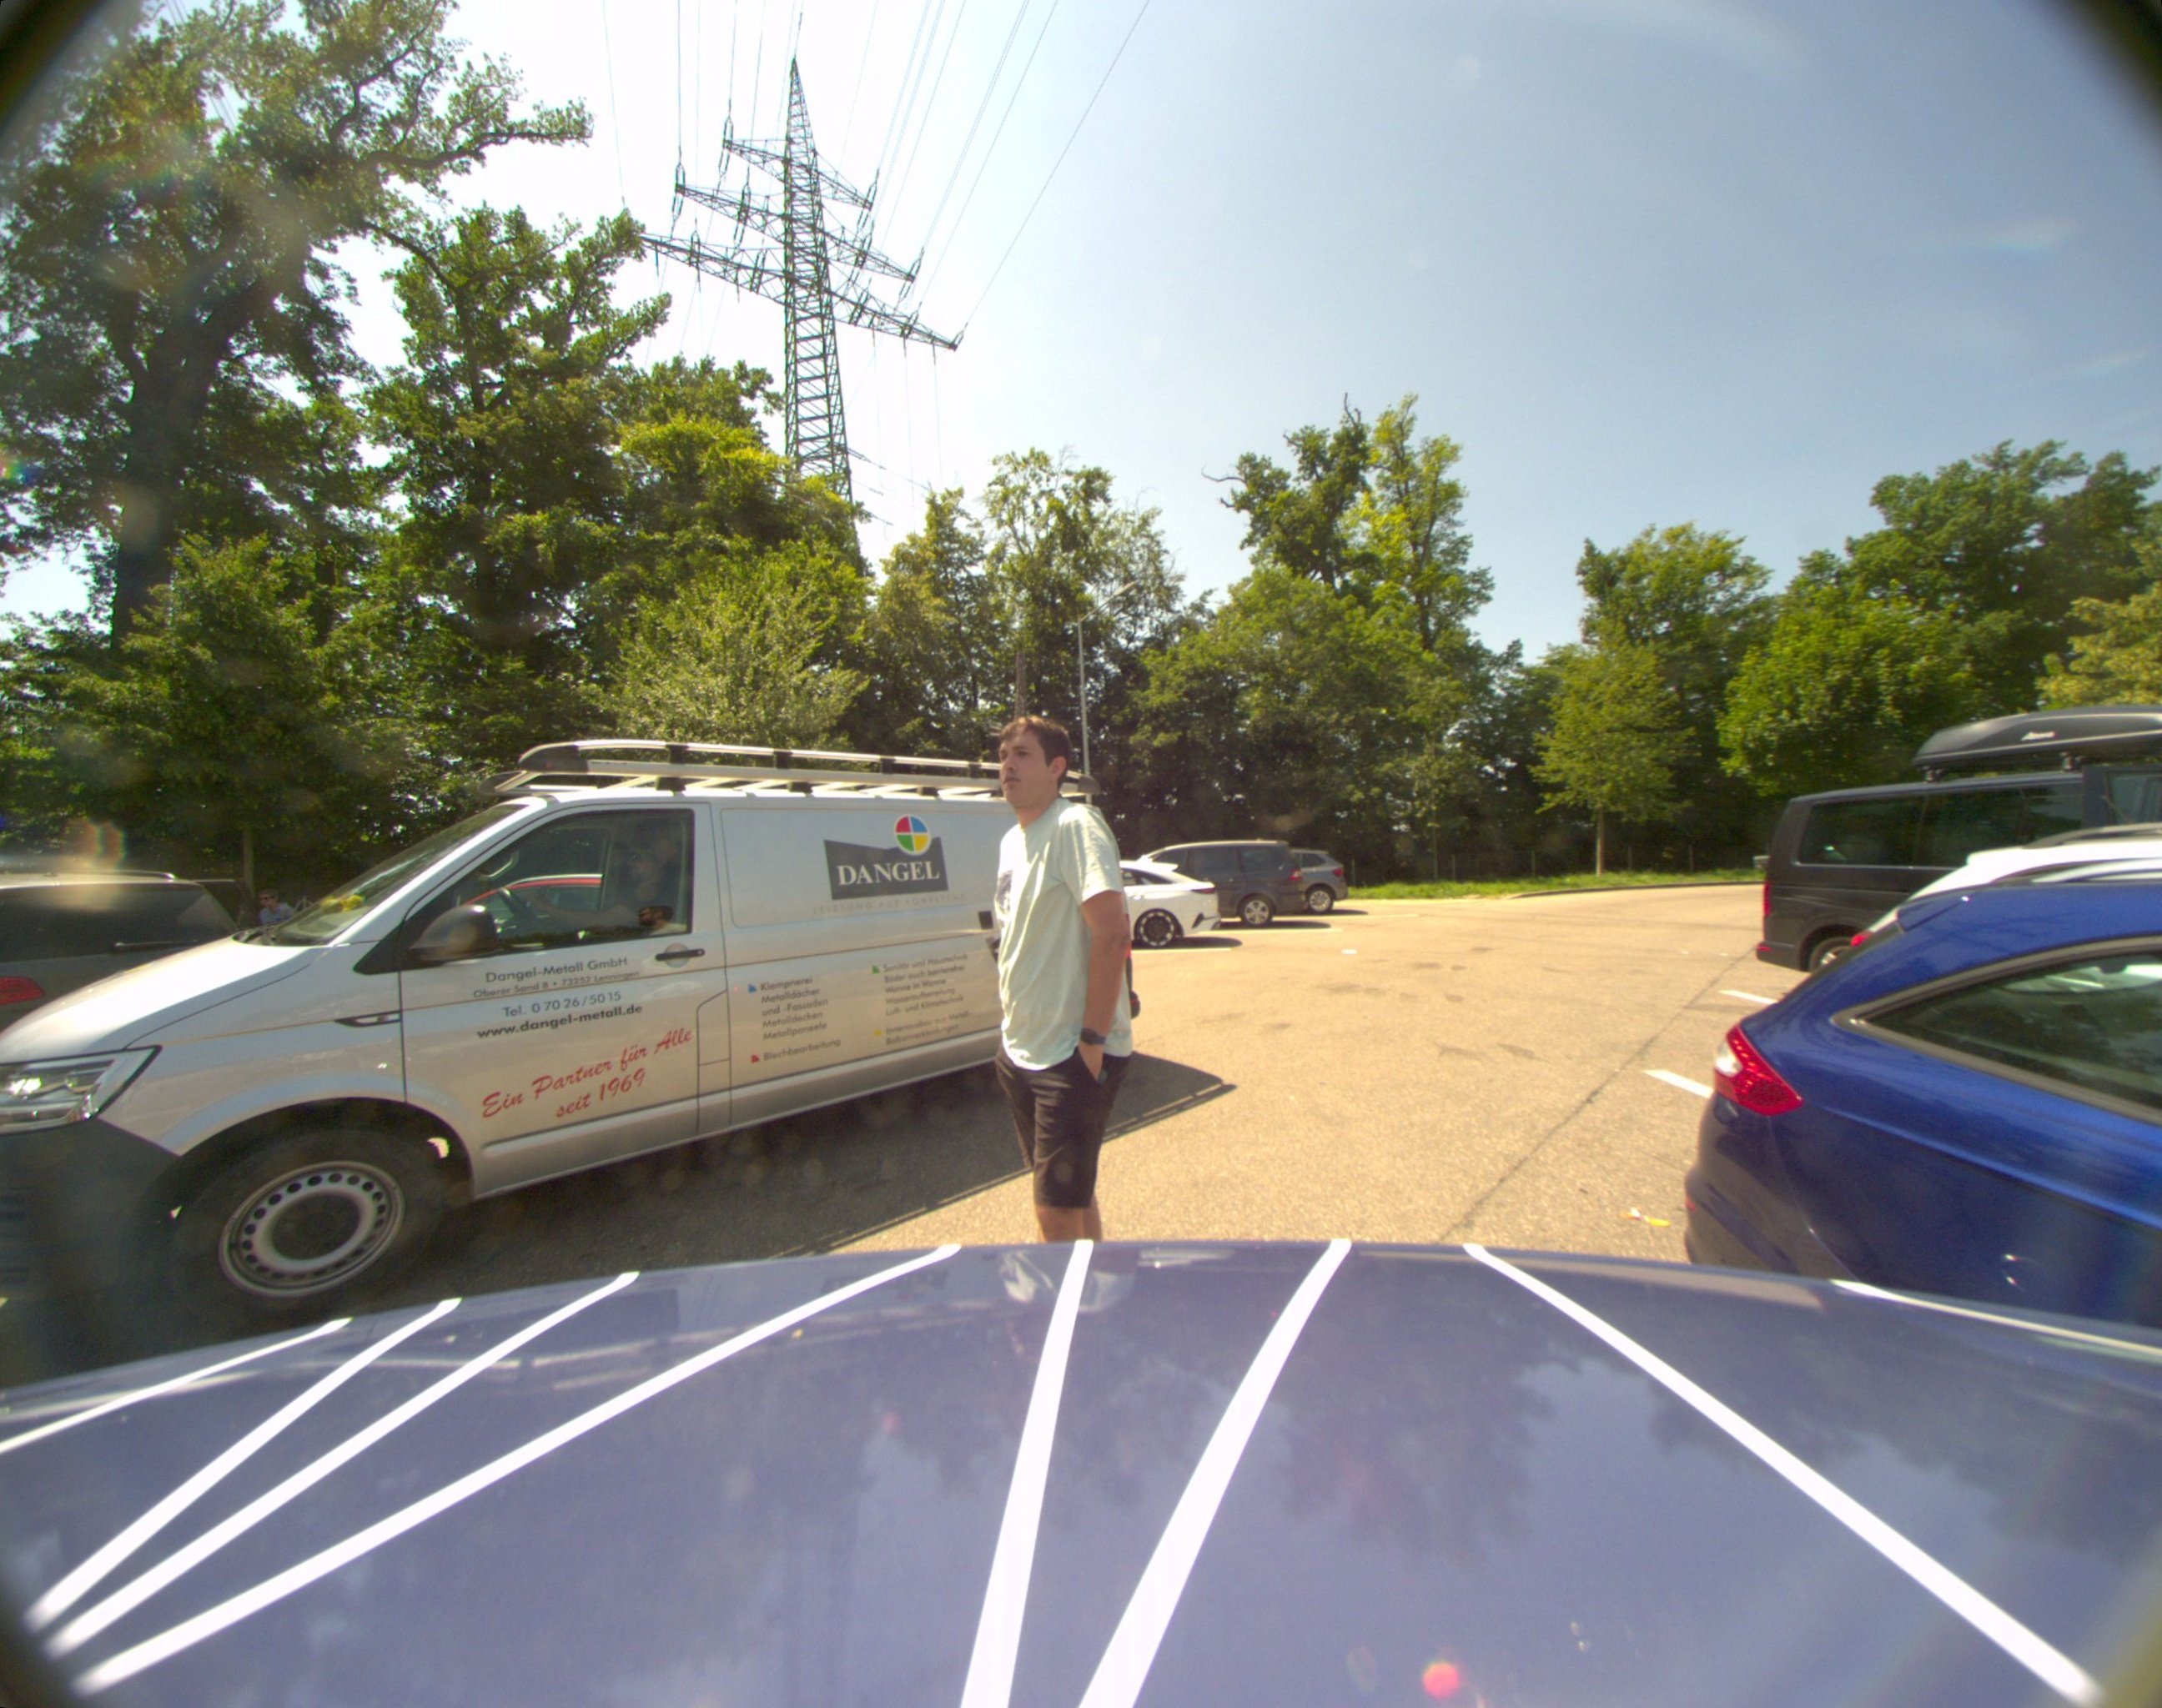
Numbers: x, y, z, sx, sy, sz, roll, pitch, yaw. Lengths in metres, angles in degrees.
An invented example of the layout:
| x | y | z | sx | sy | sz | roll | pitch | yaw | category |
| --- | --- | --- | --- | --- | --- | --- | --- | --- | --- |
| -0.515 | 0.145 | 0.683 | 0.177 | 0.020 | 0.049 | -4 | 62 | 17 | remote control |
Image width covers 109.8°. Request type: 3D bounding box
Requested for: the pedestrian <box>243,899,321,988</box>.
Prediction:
| x | y | z | sx | sy | sz | roll | pitch | yaw | category |
| --- | --- | --- | --- | --- | --- | --- | --- | --- | --- |
| -11.723 | 1.295 | 11.155 | 0.680 | 1.211 | 0.675 | -4 | -2 | 36 | pedestrian |

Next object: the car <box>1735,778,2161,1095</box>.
| x | y | z | sx | sy | sz | roll | pitch | yaw | category |
| --- | --- | --- | --- | --- | --- | --- | --- | --- | --- |
| 7.300 | 0.454 | 5.029 | 2.048 | 1.850 | 4.430 | -2 | -1 | -1 | car |

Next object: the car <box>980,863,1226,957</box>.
| x | y | z | sx | sy | sz | roll | pitch | yaw | category |
| --- | --- | --- | --- | --- | --- | --- | --- | --- | --- |
| 0.401 | 0.902 | 12.746 | 3.805 | 1.359 | 1.803 | -1 | 1 | 5 | car |

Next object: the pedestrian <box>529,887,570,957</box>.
| x | y | z | sx | sy | sz | roll | pitch | yaw | category |
| --- | --- | --- | --- | --- | --- | --- | --- | --- | --- |
| -10.175 | 1.287 | 14.540 | 0.490 | 1.291 | 0.506 | -2 | 0 | 41 | pedestrian |

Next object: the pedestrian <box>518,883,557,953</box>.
| x | y | z | sx | sy | sz | roll | pitch | yaw | category |
| --- | --- | --- | --- | --- | --- | --- | --- | --- | --- |
| -11.046 | 1.278 | 15.432 | 0.490 | 1.367 | 0.506 | -2 | 0 | 41 | pedestrian |

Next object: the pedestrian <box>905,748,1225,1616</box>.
| x | y | z | sx | sy | sz | roll | pitch | yaw | category |
| --- | --- | --- | --- | --- | --- | --- | --- | --- | --- |
| -0.100 | 0.699 | 2.074 | 0.634 | 1.857 | 0.747 | -2 | 0 | -17 | pedestrian |

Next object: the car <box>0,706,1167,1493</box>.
| x | y | z | sx | sy | sz | roll | pitch | yaw | category |
| --- | --- | --- | --- | --- | --- | --- | --- | --- | --- |
| -2.028 | 0.654 | 4.331 | 5.323 | 2.137 | 1.995 | -1 | -1 | -44 | car |

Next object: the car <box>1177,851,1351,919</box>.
| x | y | z | sx | sy | sz | roll | pitch | yaw | category |
| --- | --- | --- | --- | --- | --- | --- | --- | --- | --- |
| 4.250 | 0.704 | 18.120 | 3.805 | 1.468 | 1.743 | -1 | 1 | 5 | car |

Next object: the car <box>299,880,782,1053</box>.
| x | y | z | sx | sy | sz | roll | pitch | yaw | category |
| --- | --- | --- | --- | --- | --- | --- | --- | --- | --- |
| -5.250 | 1.056 | 7.653 | 3.804 | 1.449 | 1.637 | -1 | 1 | 7 | car |

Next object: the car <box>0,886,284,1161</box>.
| x | y | z | sx | sy | sz | roll | pitch | yaw | category |
| --- | --- | --- | --- | --- | --- | --- | --- | --- | --- |
| -8.351 | 1.096 | 5.445 | 3.950 | 1.581 | 1.753 | -1 | 1 | 11 | car |

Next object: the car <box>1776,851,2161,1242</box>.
| x | y | z | sx | sy | sz | roll | pitch | yaw | category |
| --- | --- | --- | --- | --- | --- | --- | --- | --- | --- |
| 4.772 | 0.698 | 2.432 | 1.607 | 1.405 | 3.743 | -2 | -1 | -1 | car |

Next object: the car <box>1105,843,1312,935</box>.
| x | y | z | sx | sy | sz | roll | pitch | yaw | category |
| --- | --- | --- | --- | --- | --- | --- | --- | --- | --- |
| 2.503 | 0.676 | 15.496 | 3.882 | 1.680 | 1.882 | -1 | 0 | 5 | car |
